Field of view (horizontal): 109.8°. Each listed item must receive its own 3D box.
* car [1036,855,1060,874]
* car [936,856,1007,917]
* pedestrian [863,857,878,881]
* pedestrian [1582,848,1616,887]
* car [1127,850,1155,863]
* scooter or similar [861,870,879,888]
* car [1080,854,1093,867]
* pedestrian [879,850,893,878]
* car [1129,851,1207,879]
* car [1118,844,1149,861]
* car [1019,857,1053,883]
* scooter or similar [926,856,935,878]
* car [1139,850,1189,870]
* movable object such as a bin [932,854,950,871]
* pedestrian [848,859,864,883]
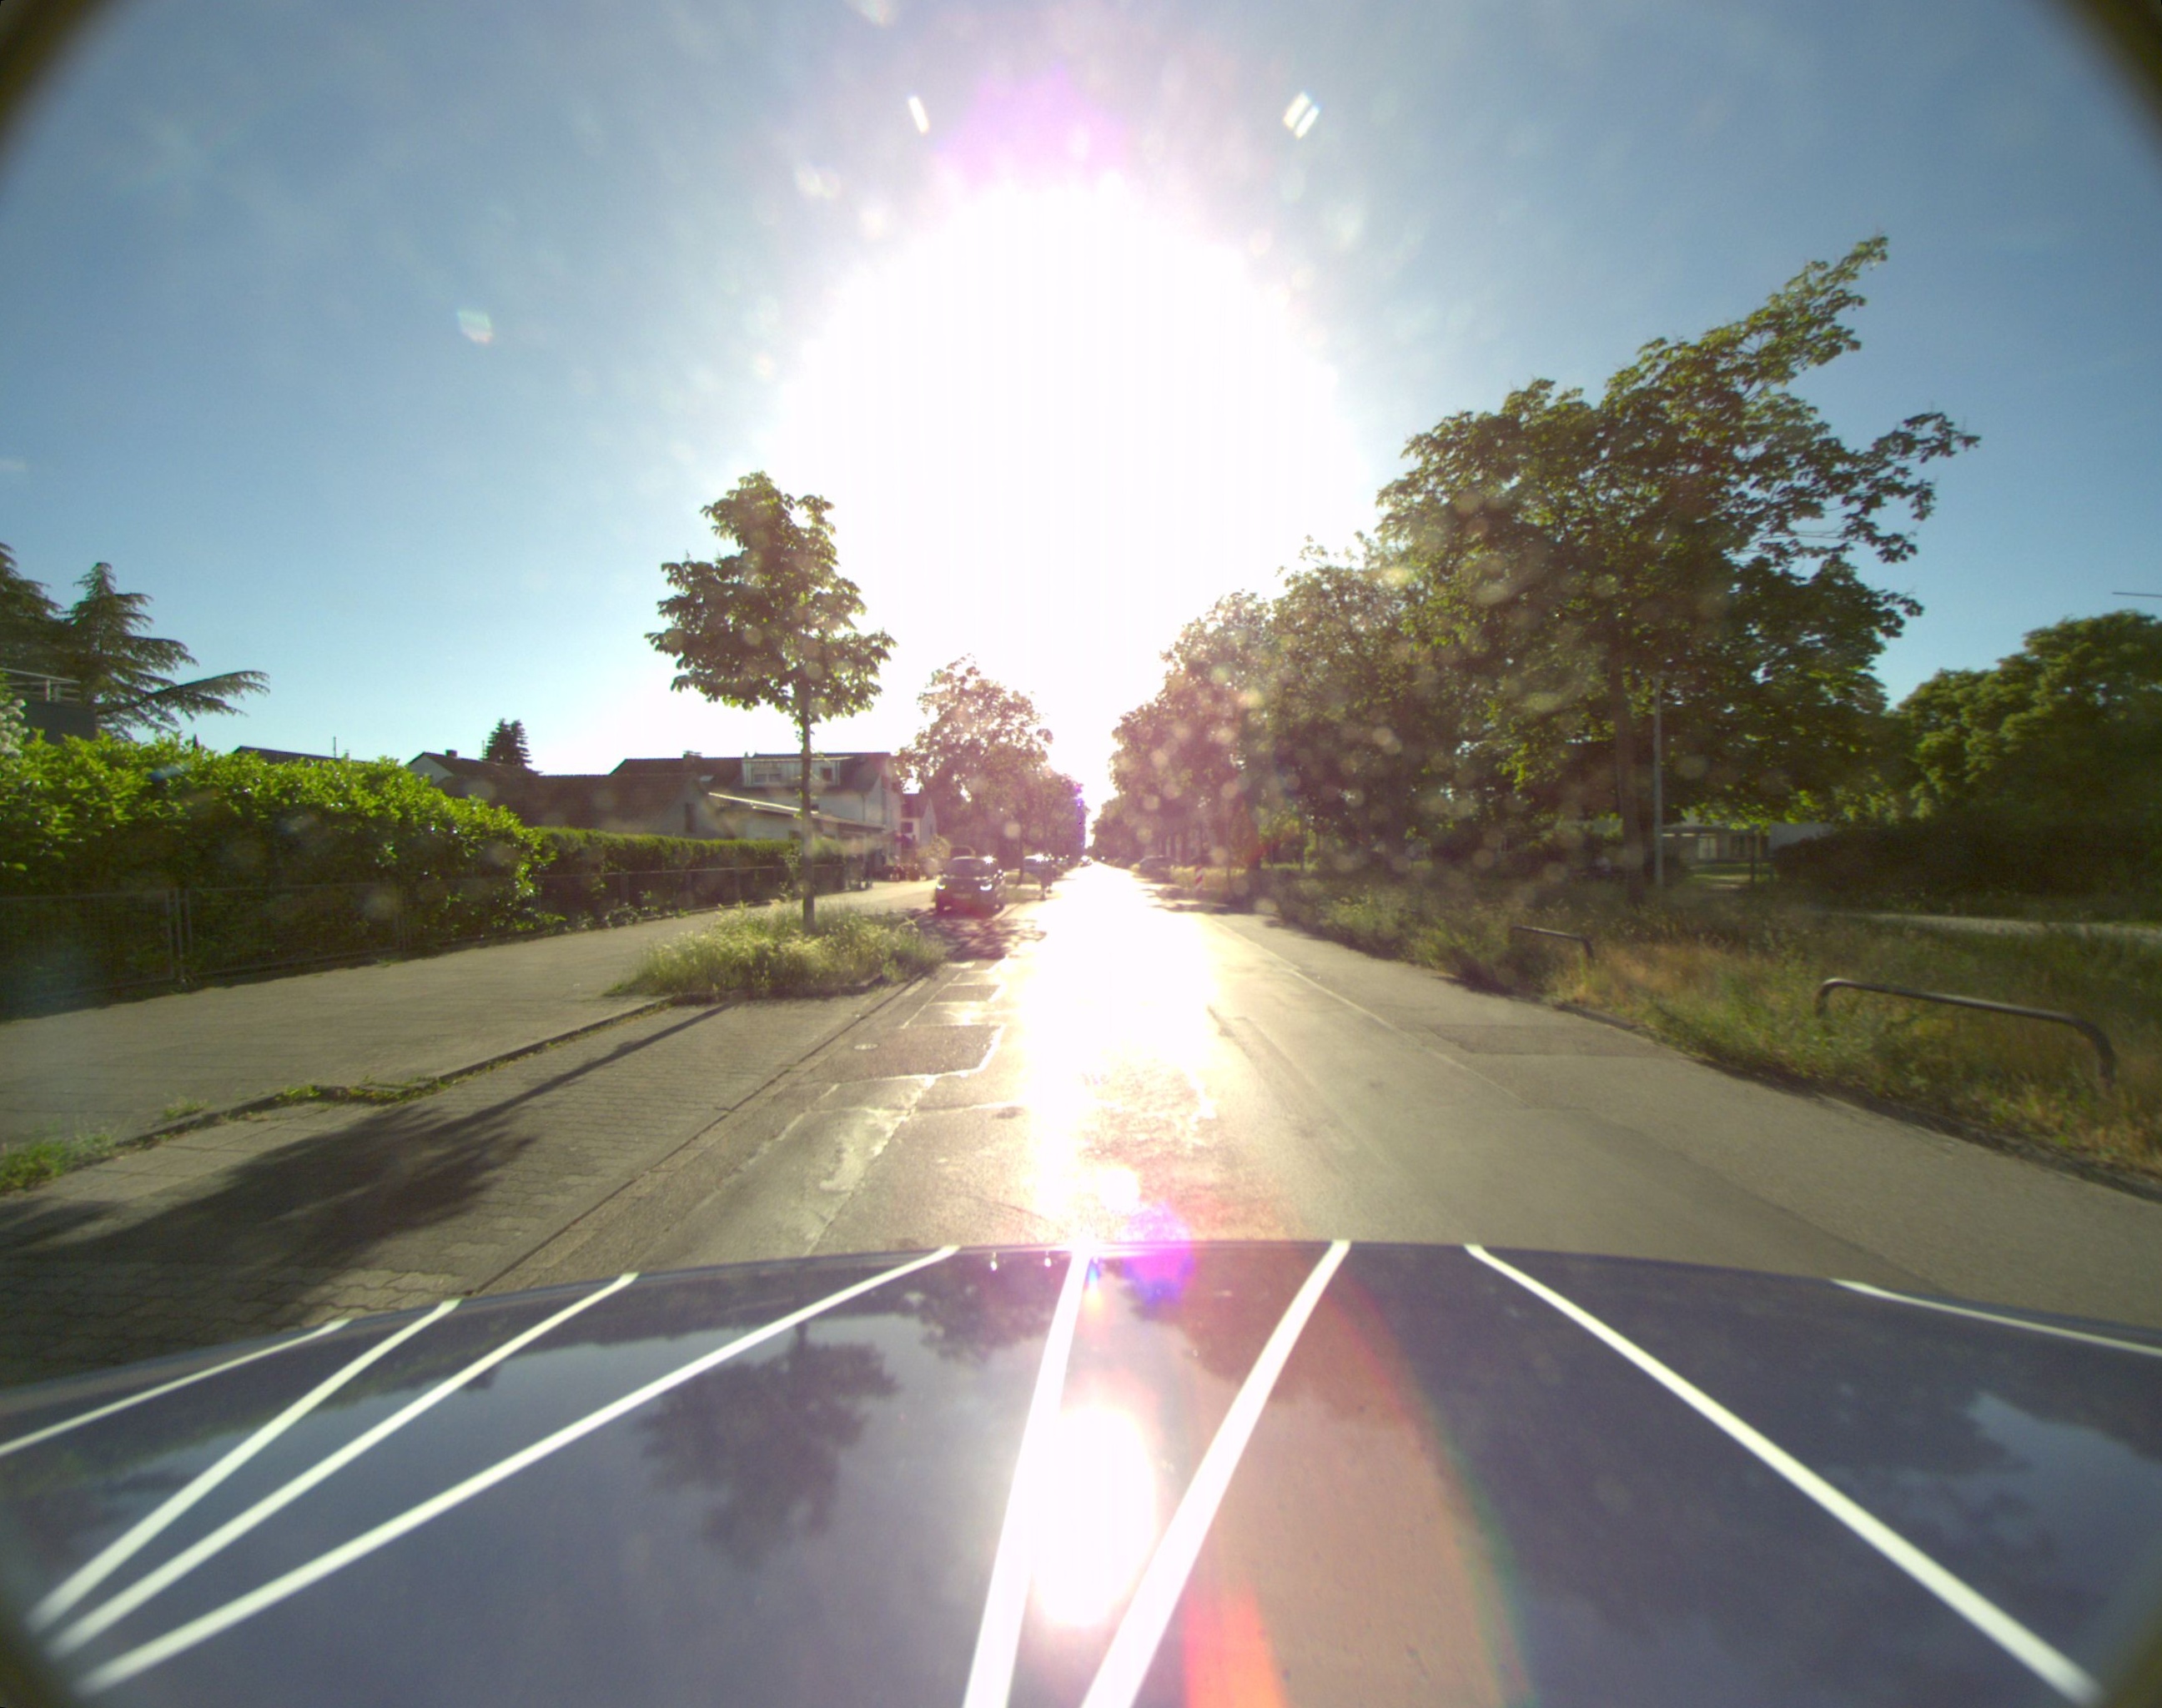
[{"bbox_3d":[-2.554,0.791,59.740,1.733,1.473,3.858,0,0,0],"label":"car"},{"bbox_3d":[-3.104,0.876,22.116,1.497,1.565,3.600,2,0,0],"label":"car"},{"bbox_3d":[-12.111,0.859,43.653,0.641,1.314,0.574,-2,1,1],"label":"pedestrian"},{"bbox_3d":[16.179,0.426,23.726,0.639,1.151,0.521,-4,1,-1],"label":"pedestrian"},{"bbox_3d":[8.873,0.420,113.321,3.997,1.740,1.890,-2,1,0],"label":"car"},{"bbox_3d":[-9.307,1.107,33.551,0.450,0.712,1.228,3,1,0],"label":"scooter or similar"},{"bbox_3d":[0.939,1.044,125.593,1.998,2.002,3.999,-2,1,1],"label":"car"},{"bbox_3d":[-13.103,0.664,51.137,0.672,1.798,0.735,-2,1,1],"label":"pedestrian"},{"bbox_3d":[5.327,0.649,47.107,4.615,1.552,2.000,-2,1,1],"label":"car"},{"bbox_3d":[8.947,-0.242,129.938,5.121,2.597,2.125,-2,1,3],"label":"car"},{"bbox_3d":[-2.882,1.011,49.349,1.732,1.568,3.858,0,0,3],"label":"car"},{"bbox_3d":[-9.198,0.788,46.374,0.503,1.288,0.461,0,1,-3],"label":"scooter or similar"},{"bbox_3d":[7.297,0.502,66.883,4.204,1.552,2.000,-2,1,1],"label":"car"},{"bbox_3d":[-10.967,0.665,59.554,1.172,1.286,0.928,0,1,0],"label":"movable object such as a bin"},{"bbox_3d":[-12.922,0.982,43.659,0.641,1.314,0.574,-2,1,1],"label":"pedestrian"}]
